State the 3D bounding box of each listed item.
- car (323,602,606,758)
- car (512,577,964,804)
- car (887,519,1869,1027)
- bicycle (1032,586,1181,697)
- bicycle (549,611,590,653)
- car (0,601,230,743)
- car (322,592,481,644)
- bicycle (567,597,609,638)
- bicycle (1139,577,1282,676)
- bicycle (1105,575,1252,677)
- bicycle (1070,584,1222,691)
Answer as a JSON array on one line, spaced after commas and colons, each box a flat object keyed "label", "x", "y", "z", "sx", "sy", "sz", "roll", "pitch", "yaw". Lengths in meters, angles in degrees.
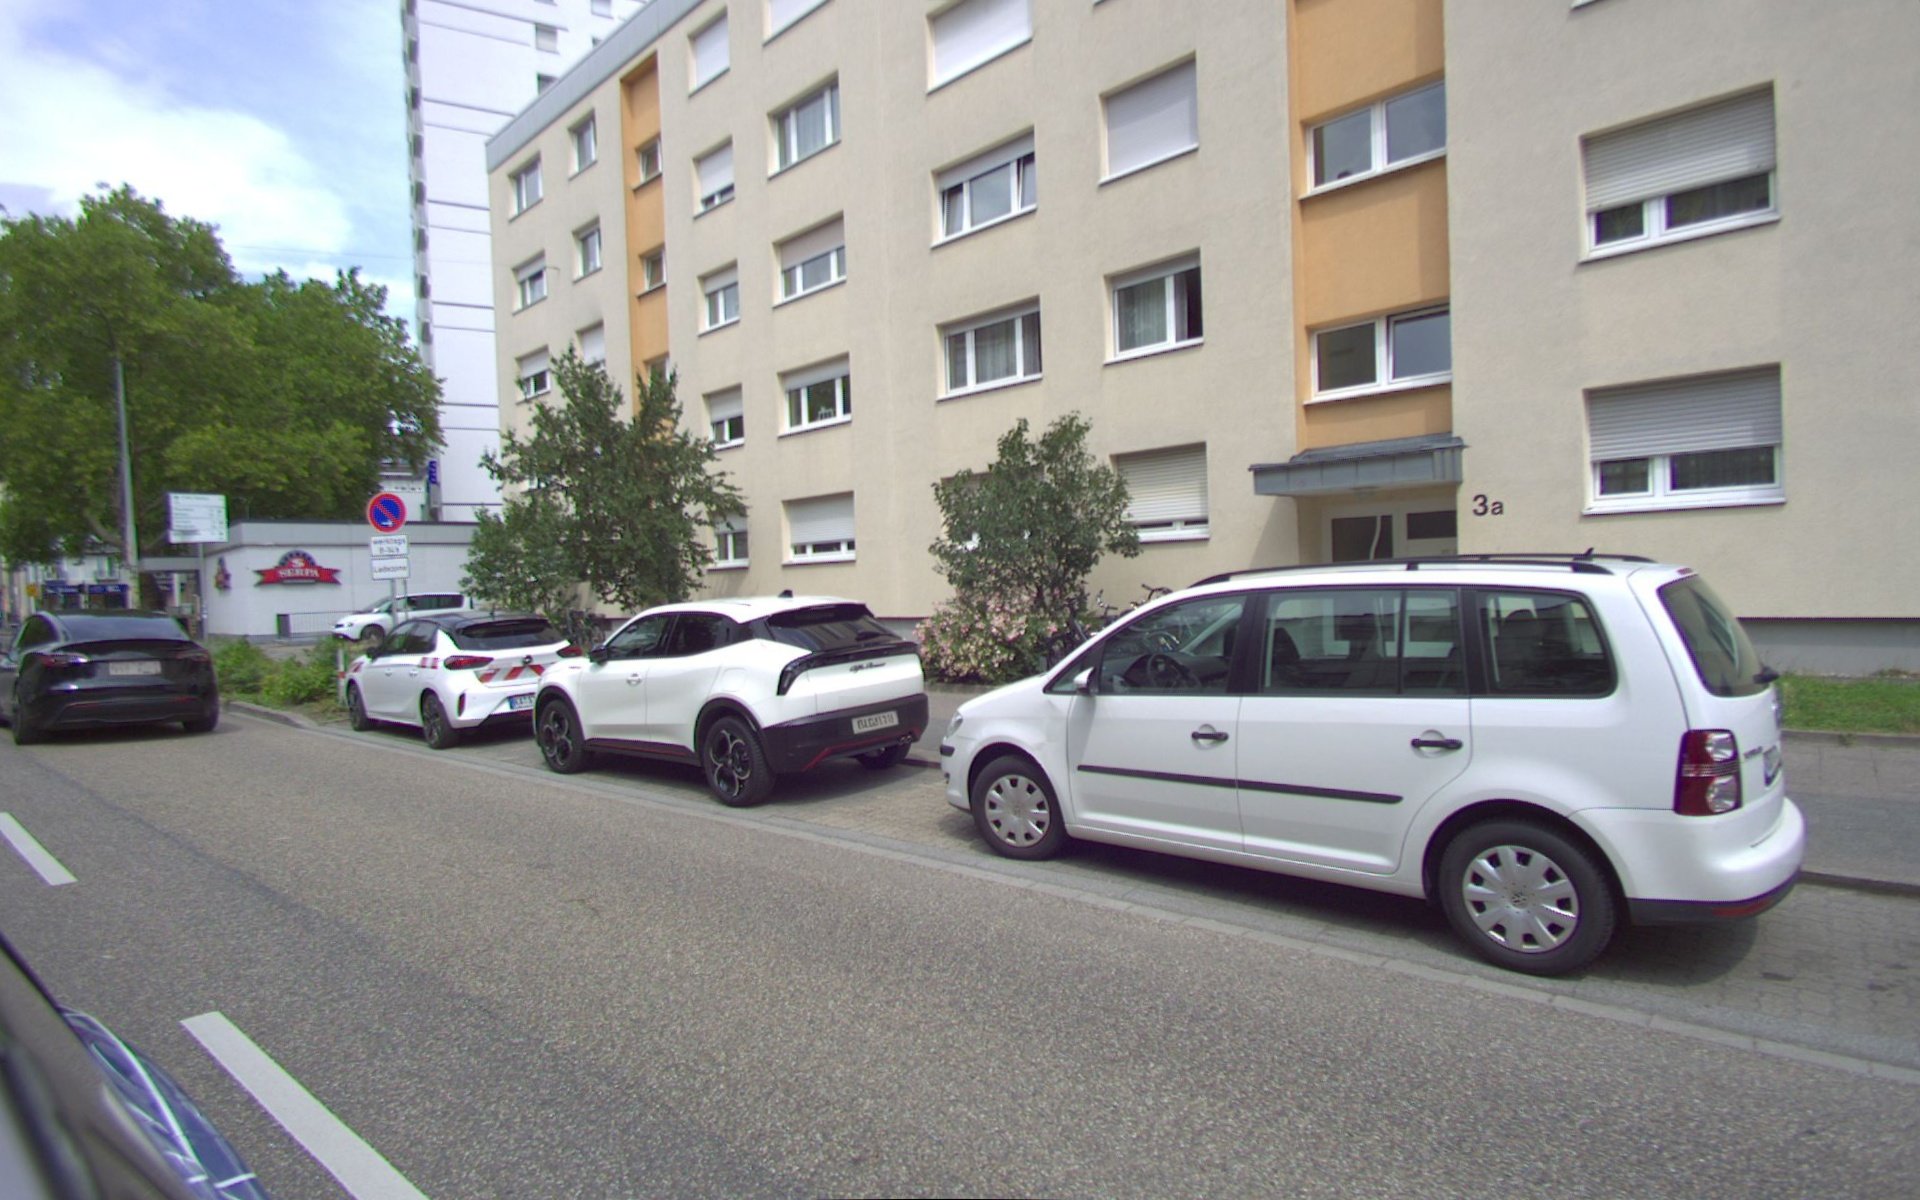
[{"label": "car", "x": -6.102, "y": 0.844, "z": 12.264, "sx": 3.989, "sy": 1.483, "sz": 1.690, "roll": -1, "pitch": 2, "yaw": 43}, {"label": "car", "x": -2.062, "y": 0.636, "z": 8.816, "sx": 3.985, "sy": 1.483, "sz": 1.692, "roll": -1, "pitch": 2, "yaw": 39}, {"label": "car", "x": 1.789, "y": 0.539, "z": 5.363, "sx": 4.477, "sy": 1.624, "sz": 1.679, "roll": -1, "pitch": 2, "yaw": 43}, {"label": "bicycle", "x": 1.786, "y": 0.503, "z": 12.637, "sx": 0.571, "sy": 1.260, "sz": 1.937, "roll": -2, "pitch": 0, "yaw": -39}, {"label": "bicycle", "x": -10.200, "y": 0.816, "z": 26.389, "sx": 0.406, "sy": 1.045, "sz": 1.807, "roll": -2, "pitch": 1, "yaw": -40}, {"label": "car", "x": -11.299, "y": 0.823, "z": 13.176, "sx": 4.611, "sy": 1.532, "sz": 1.931, "roll": -1, "pitch": -1, "yaw": 41}, {"label": "car", "x": -19.635, "y": 0.605, "z": 35.692, "sx": 4.576, "sy": 1.699, "sz": 1.851, "roll": -1, "pitch": 0, "yaw": -43}, {"label": "bicycle", "x": -9.884, "y": 0.456, "z": 26.862, "sx": 0.406, "sy": 1.045, "sz": 1.807, "roll": -2, "pitch": 1, "yaw": -42}, {"label": "bicycle", "x": 3.428, "y": 0.365, "z": 14.020, "sx": 0.549, "sy": 1.260, "sz": 1.920, "roll": -2, "pitch": 0, "yaw": -41}, {"label": "bicycle", "x": 2.882, "y": 0.347, "z": 13.531, "sx": 0.556, "sy": 1.260, "sz": 1.966, "roll": -2, "pitch": 0, "yaw": -39}, {"label": "bicycle", "x": 2.360, "y": 0.474, "z": 13.121, "sx": 0.529, "sy": 1.260, "sz": 2.048, "roll": -2, "pitch": 0, "yaw": -39}]
